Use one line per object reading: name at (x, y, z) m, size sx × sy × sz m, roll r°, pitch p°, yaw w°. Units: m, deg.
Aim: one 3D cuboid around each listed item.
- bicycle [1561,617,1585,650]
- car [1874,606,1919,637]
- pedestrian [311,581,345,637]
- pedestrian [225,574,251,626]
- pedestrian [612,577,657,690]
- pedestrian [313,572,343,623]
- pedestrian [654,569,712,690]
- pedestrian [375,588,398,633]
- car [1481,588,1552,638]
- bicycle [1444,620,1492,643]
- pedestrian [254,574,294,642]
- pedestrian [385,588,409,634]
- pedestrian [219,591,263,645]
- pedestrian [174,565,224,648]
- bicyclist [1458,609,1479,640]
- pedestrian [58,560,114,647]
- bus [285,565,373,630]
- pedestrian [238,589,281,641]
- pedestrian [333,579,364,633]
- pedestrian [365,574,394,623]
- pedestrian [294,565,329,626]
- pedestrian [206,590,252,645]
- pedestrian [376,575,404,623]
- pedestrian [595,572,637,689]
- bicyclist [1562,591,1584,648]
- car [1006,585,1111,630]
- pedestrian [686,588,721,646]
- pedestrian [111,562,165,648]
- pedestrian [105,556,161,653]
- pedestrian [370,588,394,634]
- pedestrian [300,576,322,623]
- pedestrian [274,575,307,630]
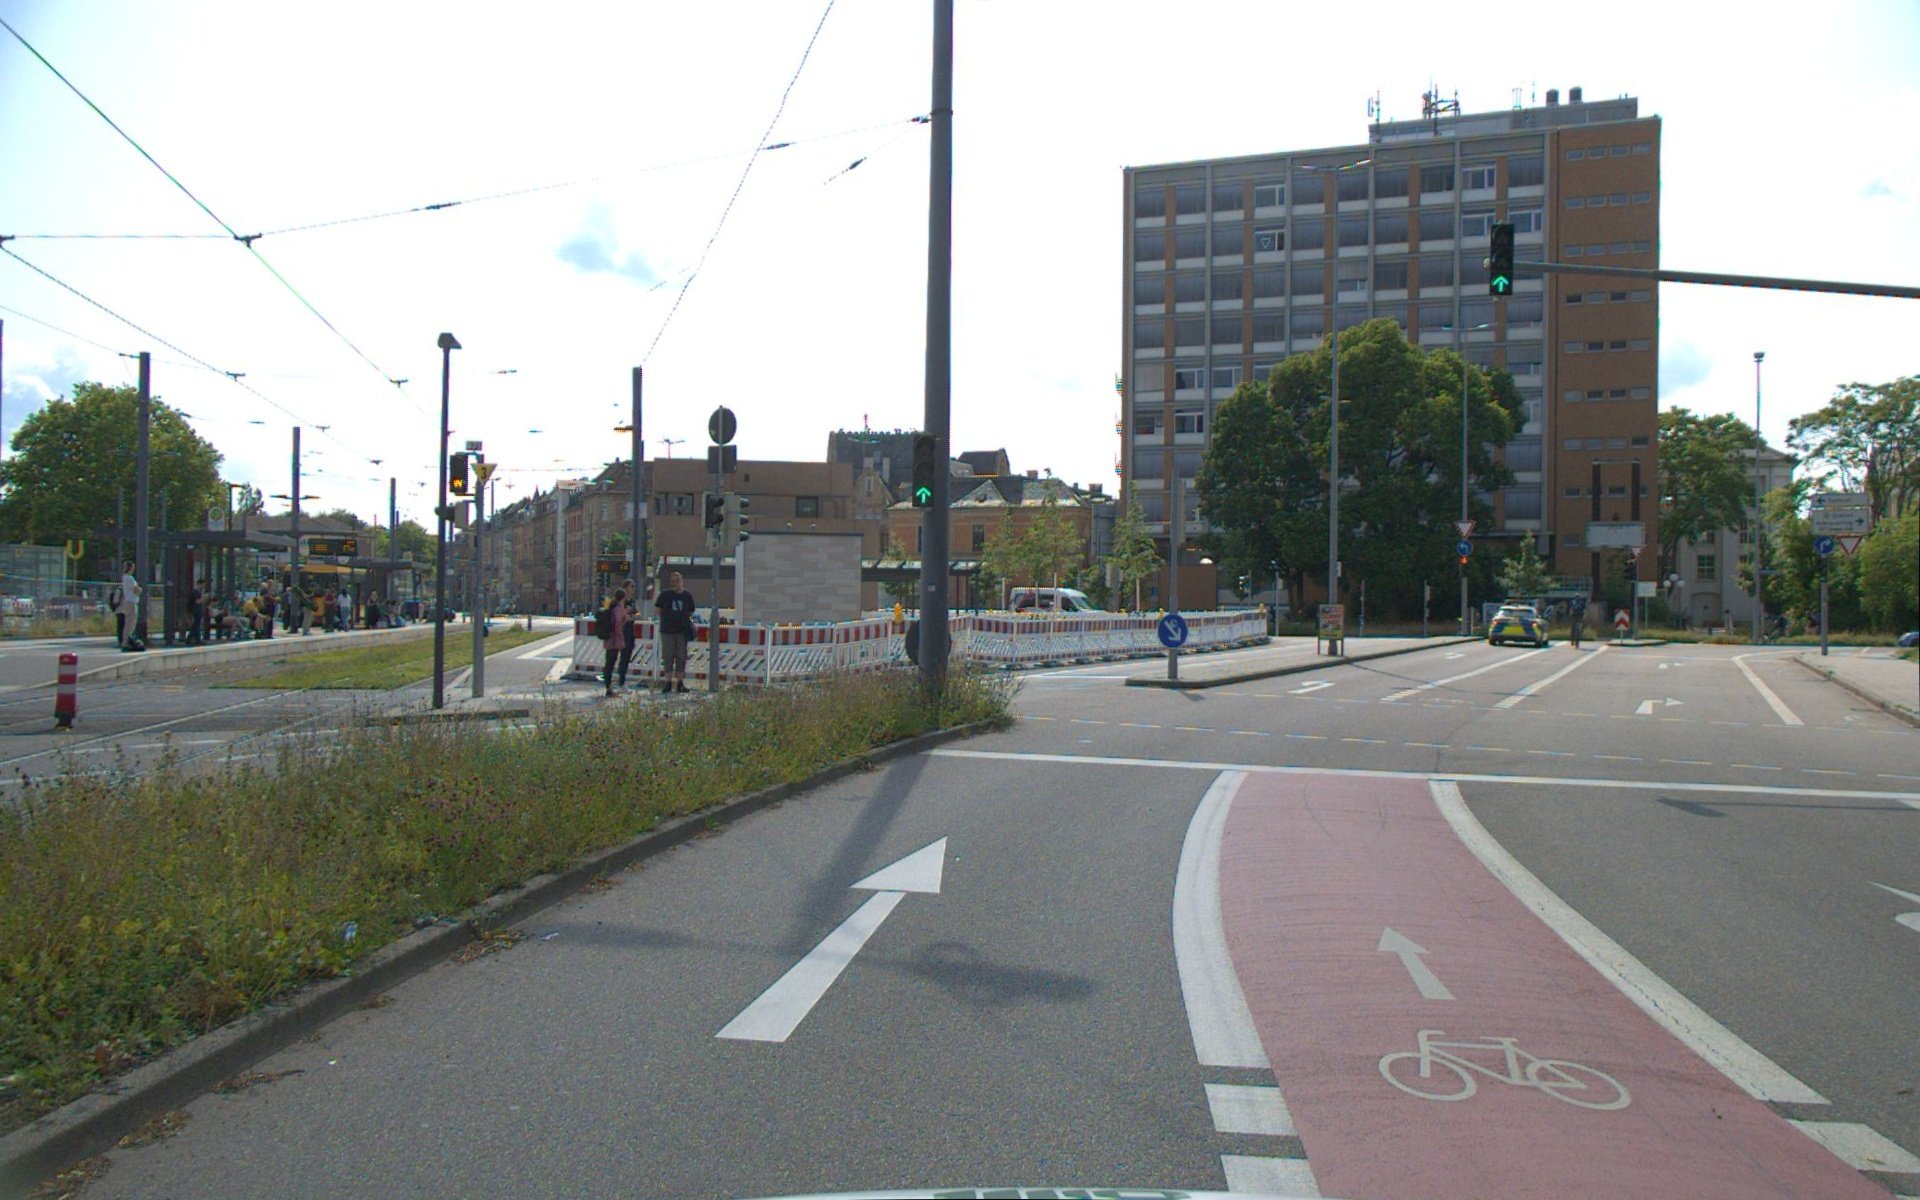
bicycle at (21.943, 1.188, 59.176) m, size 0.706 × 1.103 × 2.190 m, roll 0°, pitch 0°, yaw 23°
car at (45.789, 1.012, 78.894) m, size 3.662 × 1.482 × 1.620 m, roll 0°, pitch -1°, yaw 37°
pedestrian at (-23.314, 0.344, 61.040) m, size 0.935 × 2.049 × 0.720 m, roll 2°, pitch -1°, yaw -41°
pedestrian at (-28.424, 0.007, 65.132) m, size 0.716 × 2.049 × 0.940 m, roll 2°, pitch -1°, yaw -14°
pedestrian at (-5.140, 0.525, 26.167) m, size 0.400 × 1.766 × 0.621 m, roll 0°, pitch 0°, yaw 25°
pedestrian at (-25.871, -0.090, 67.725) m, size 0.933 × 2.049 × 0.721 m, roll 2°, pitch -1°, yaw -37°
pedestrian at (-4.478, 0.475, 26.734) m, size 0.781 × 1.918 × 0.608 m, roll 1°, pitch 0°, yaw -26°
pedestrian at (-26.700, 0.496, 76.937) m, size 0.927 × 2.049 × 0.726 m, roll 2°, pitch -1°, yaw -22°
car at (20.412, 0.462, 60.576) m, size 2.087 × 1.713 × 4.100 m, roll 2°, pitch 0°, yaw 23°
bicycle at (24.793, 1.542, 80.738) m, size 2.140 × 1.103 × 0.635 m, roll 0°, pitch 0°, yaw -4°
pedestrian at (-20.936, 0.246, 50.482) m, size 0.923 × 2.049 × 0.729 m, roll 1°, pitch -1°, yaw -9°
pedestrian at (-25.106, 0.488, 73.801) m, size 0.927 × 2.049 × 0.726 m, roll 2°, pitch -1°, yaw -22°
pedestrian at (-19.928, 0.499, 45.854) m, size 0.923 × 1.456 × 0.729 m, roll 1°, pitch -1°, yaw -9°
pedestrian at (-19.112, 0.159, 41.565) m, size 0.923 × 2.049 × 0.729 m, roll 1°, pitch -1°, yaw -9°
bicyclist at (24.817, 1.204, 80.743) m, size 0.820 × 1.496 × 0.636 m, roll 0°, pitch 0°, yaw -3°
pedestrian at (-20.813, 0.087, 39.388) m, size 0.923 × 2.049 × 0.729 m, roll 1°, pitch -1°, yaw -9°
bus at (-31.185, -0.096, 82.144) m, size 2.379 × 3.035 × 10.513 m, roll 0°, pitch 0°, yaw -11°
pedestrian at (-19.867, 0.430, 46.922) m, size 0.923 × 1.456 × 0.729 m, roll 1°, pitch -1°, yaw -9°
pedestrian at (-23.531, 0.231, 63.642) m, size 0.933 × 2.049 × 0.722 m, roll 2°, pitch -1°, yaw -36°
pedestrian at (-24.912, -0.052, 70.997) m, size 0.933 × 2.049 × 0.721 m, roll 2°, pitch -1°, yaw -37°
pedestrian at (-22.212, -0.154, 56.667) m, size 0.933 × 2.049 × 0.721 m, roll 2°, pitch -1°, yaw -37°
pedestrian at (-19.873, 0.488, 44.973) m, size 0.923 × 1.456 × 0.729 m, roll 1°, pitch -1°, yaw -9°
pedestrian at (-24.811, -0.035, 72.007) m, size 0.933 × 2.049 × 0.721 m, roll 2°, pitch -1°, yaw -37°
pedestrian at (-5.216, 0.459, 25.103) m, size 0.600 × 1.736 × 0.621 m, roll 0°, pitch 0°, yaw -11°
bicyclist at (21.946, 0.691, 59.179) m, size 0.703 × 2.008 × 0.839 m, roll 0°, pitch 0°, yaw 24°
car at (5.305, 0.426, 89.612) m, size 5.491 × 2.359 × 2.287 m, roll 0°, pitch -1°, yaw 43°
pedestrian at (-8.134, 0.542, 52.455) m, size 0.918 × 1.821 × 1.174 m, roll 2°, pitch -1°, yaw -16°
pedestrian at (-19.938, 0.119, 40.127) m, size 0.923 × 2.049 × 0.729 m, roll 1°, pitch -1°, yaw -9°
pedestrian at (-17.815, 0.104, 35.651) m, size 0.799 × 2.049 × 0.797 m, roll 1°, pitch -1°, yaw -9°
pedestrian at (-26.147, 0.478, 74.788) m, size 0.927 × 2.049 × 0.726 m, roll 2°, pitch -1°, yaw -22°
pedestrian at (-28.413, -0.017, 72.396) m, size 0.721 × 2.049 × 0.934 m, roll 2°, pitch -1°, yaw -31°
pedestrian at (-25.307, 0.097, 62.494) m, size 0.935 × 2.049 × 0.720 m, roll 2°, pitch -1°, yaw -41°
